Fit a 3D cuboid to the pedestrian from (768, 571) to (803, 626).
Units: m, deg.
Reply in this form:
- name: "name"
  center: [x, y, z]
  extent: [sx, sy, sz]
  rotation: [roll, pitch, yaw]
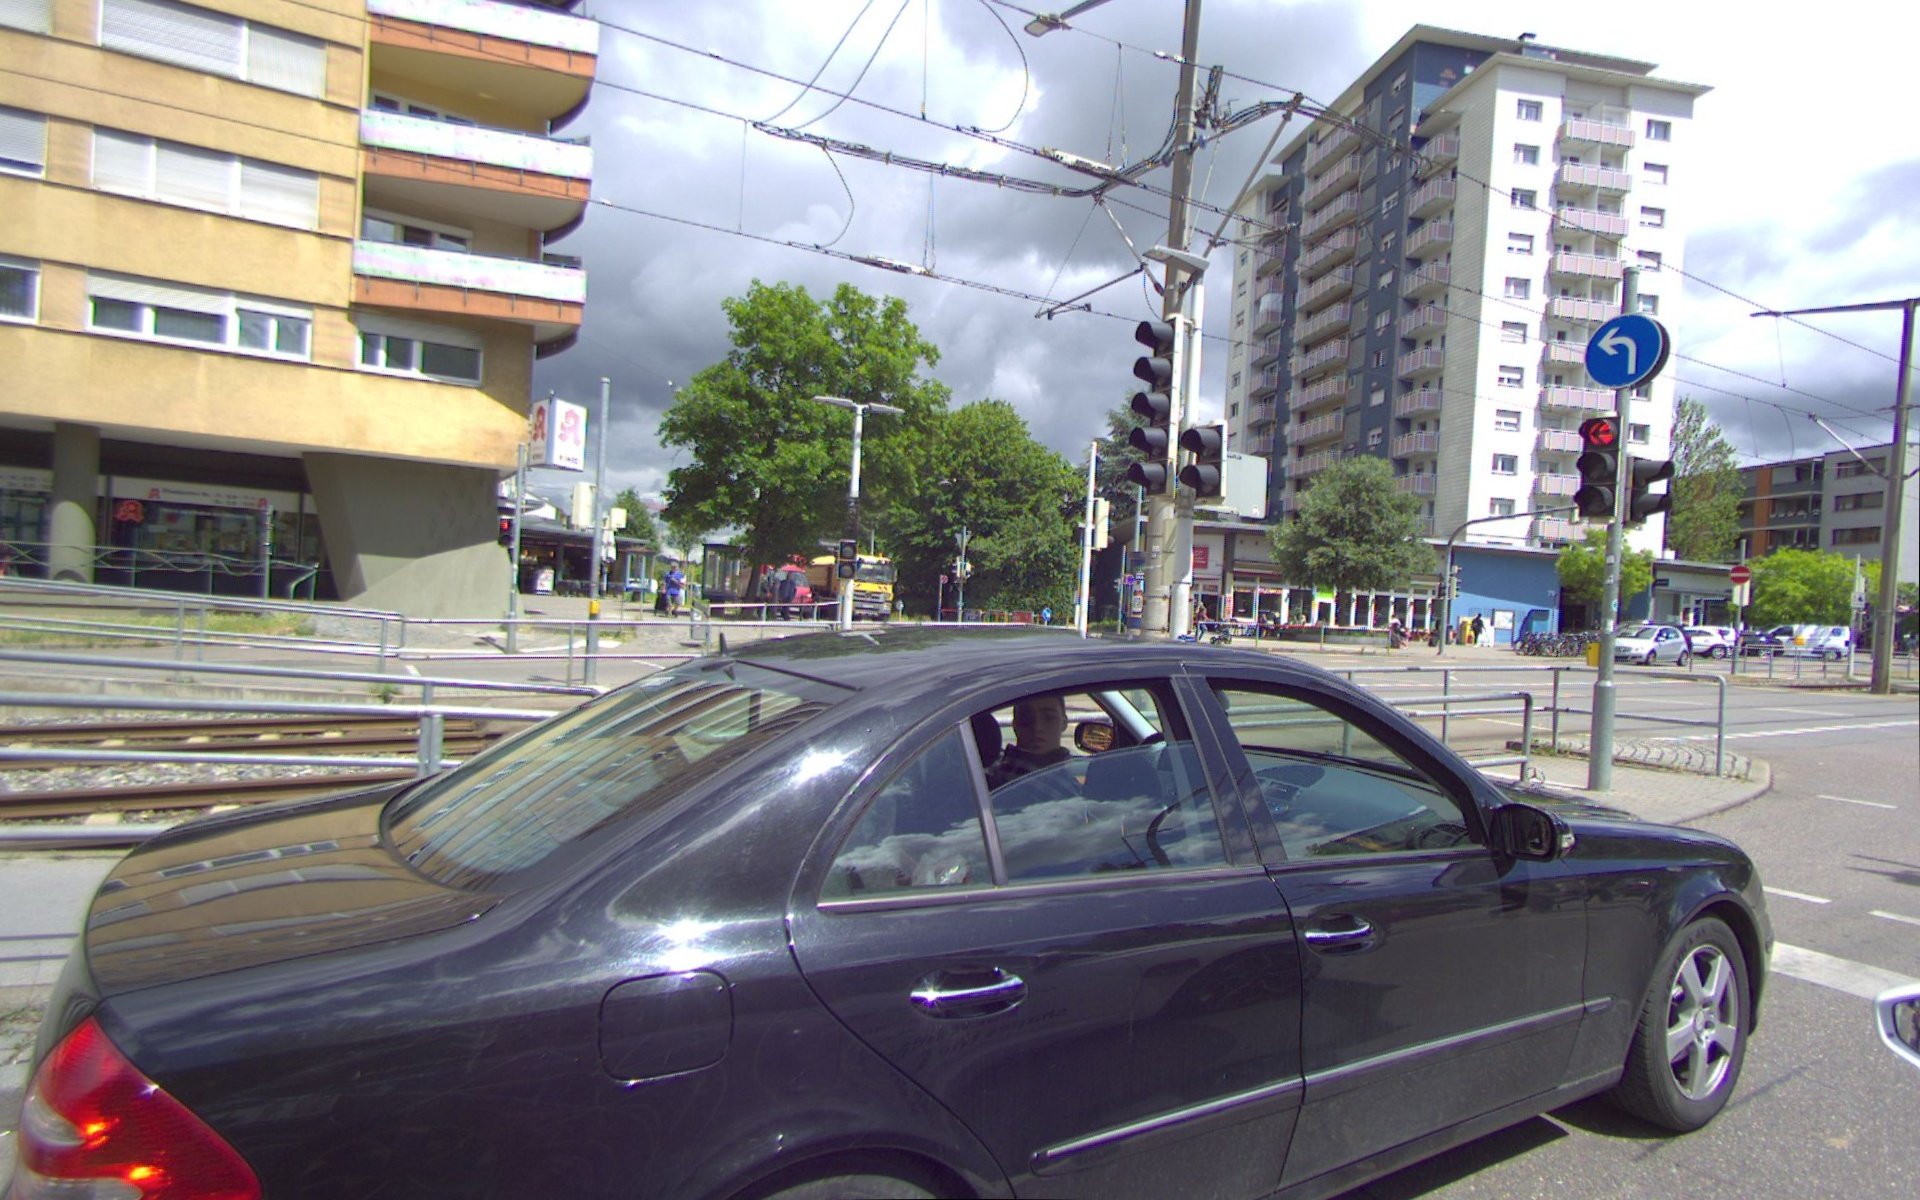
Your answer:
- name: "pedestrian"
  center: [-5.460, -0.047, 31.503]
  extent: [0.750, 1.636, 0.780]
  rotation: [7, 1, 3]

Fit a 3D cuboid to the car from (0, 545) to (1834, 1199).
- name: "car"
  center: [0.456, 0.730, 2.869]
  extent: [4.491, 1.481, 1.720]
  rotation: [2, 0, -30]

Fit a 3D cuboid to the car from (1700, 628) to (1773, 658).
- name: "car"
  center: [43.417, 2.375, 56.281]
  extent: [1.754, 1.439, 4.219]
  rotation: [2, 0, 15]

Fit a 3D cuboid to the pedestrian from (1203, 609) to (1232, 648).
- name: "pedestrian"
  center: [11.589, 1.279, 45.163]
  extent: [0.977, 1.681, 0.969]
  rotation: [2, -1, -4]

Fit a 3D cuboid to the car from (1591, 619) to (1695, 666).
- name: "car"
  center: [27.260, 1.686, 40.080]
  extent: [3.827, 1.715, 1.928]
  rotation: [2, 0, -30]

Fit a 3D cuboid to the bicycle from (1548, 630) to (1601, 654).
- name: "bicycle"
  center: [26.995, 1.846, 44.154]
  extent: [0.490, 0.947, 1.933]
  rotation: [2, 0, -35]

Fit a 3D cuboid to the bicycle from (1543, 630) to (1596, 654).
- name: "bicycle"
  center: [26.598, 1.831, 43.862]
  extent: [0.490, 0.947, 1.933]
  rotation: [2, 0, -35]

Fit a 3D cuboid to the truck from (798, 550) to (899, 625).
- name: "truck"
  center: [-5.484, -0.577, 48.186]
  extent: [2.733, 3.244, 7.442]
  rotation: [2, 0, -23]

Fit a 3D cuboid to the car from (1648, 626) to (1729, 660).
- name: "car"
  center: [38.241, 2.210, 52.829]
  extent: [1.921, 1.591, 4.220]
  rotation: [2, 0, 13]

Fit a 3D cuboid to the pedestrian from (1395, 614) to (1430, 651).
- name: "pedestrian"
  center: [20.939, 1.505, 46.477]
  extent: [1.081, 1.681, 0.944]
  rotation: [2, -1, -17]

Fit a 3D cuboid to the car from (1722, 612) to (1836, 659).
- name: "car"
  center: [47.866, 2.014, 58.960]
  extent: [2.776, 2.511, 6.724]
  rotation: [2, 0, 17]

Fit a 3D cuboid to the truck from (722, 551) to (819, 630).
- name: "truck"
  center: [-9.130, -0.453, 47.440]
  extent: [2.692, 3.320, 8.876]
  rotation: [2, 0, -23]

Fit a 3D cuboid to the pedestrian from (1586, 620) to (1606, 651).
- name: "pedestrian"
  center: [34.830, 1.956, 54.983]
  extent: [0.759, 1.637, 0.694]
  rotation: [2, 0, 45]

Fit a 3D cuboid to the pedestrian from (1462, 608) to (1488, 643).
- name: "pedestrian"
  center: [29.575, 1.459, 57.713]
  extent: [1.203, 1.942, 0.859]
  rotation: [1, 1, -36]

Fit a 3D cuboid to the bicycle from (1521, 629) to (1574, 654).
- name: "bicycle"
  center: [25.158, 1.776, 43.056]
  extent: [0.490, 0.947, 1.933]
  rotation: [2, 0, -35]

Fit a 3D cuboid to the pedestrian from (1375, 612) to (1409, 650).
- name: "pedestrian"
  center: [19.766, 1.403, 45.959]
  extent: [1.081, 1.681, 0.944]
  rotation: [2, -1, -17]

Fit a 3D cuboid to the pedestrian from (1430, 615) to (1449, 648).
- name: "pedestrian"
  center: [24.008, 1.567, 50.318]
  extent: [0.756, 1.637, 0.696]
  rotation: [2, 0, 33]

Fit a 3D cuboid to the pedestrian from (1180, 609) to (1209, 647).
- name: "pedestrian"
  center: [10.492, 1.243, 44.964]
  extent: [0.977, 1.681, 0.969]
  rotation: [2, -1, -4]

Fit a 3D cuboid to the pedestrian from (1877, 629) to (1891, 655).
- name: "pedestrian"
  center: [61.426, 2.783, 66.771]
  extent: [0.663, 1.739, 0.542]
  rotation: [1, 0, -40]

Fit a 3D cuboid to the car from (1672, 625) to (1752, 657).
- name: "car"
  center: [40.886, 2.205, 54.760]
  extent: [1.921, 1.558, 4.220]
  rotation: [2, 0, 13]

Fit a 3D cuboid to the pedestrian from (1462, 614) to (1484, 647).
- name: "pedestrian"
  center: [26.153, 1.537, 51.193]
  extent: [0.693, 1.637, 0.760]
  rotation: [1, 0, -43]

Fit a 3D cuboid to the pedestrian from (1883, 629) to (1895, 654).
- name: "pedestrian"
  center: [65.218, 2.896, 70.492]
  extent: [0.401, 1.739, 0.542]
  rotation: [1, 0, -39]

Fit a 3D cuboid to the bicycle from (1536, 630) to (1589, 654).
- name: "bicycle"
  center: [26.128, 1.814, 43.586]
  extent: [0.490, 0.947, 1.933]
  rotation: [2, 0, -35]

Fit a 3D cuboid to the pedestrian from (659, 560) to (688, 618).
- name: "pedestrian"
  center: [-8.304, -0.322, 29.121]
  extent: [0.754, 1.638, 0.776]
  rotation: [0, 4, -20]

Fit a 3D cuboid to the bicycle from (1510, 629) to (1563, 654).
- name: "bicycle"
  center: [24.363, 1.747, 42.482]
  extent: [0.490, 0.947, 1.933]
  rotation: [2, 0, -35]

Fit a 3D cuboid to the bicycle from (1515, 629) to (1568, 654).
- name: "bicycle"
  center: [24.748, 1.761, 42.766]
  extent: [0.490, 0.947, 1.933]
  rotation: [2, 0, -35]
